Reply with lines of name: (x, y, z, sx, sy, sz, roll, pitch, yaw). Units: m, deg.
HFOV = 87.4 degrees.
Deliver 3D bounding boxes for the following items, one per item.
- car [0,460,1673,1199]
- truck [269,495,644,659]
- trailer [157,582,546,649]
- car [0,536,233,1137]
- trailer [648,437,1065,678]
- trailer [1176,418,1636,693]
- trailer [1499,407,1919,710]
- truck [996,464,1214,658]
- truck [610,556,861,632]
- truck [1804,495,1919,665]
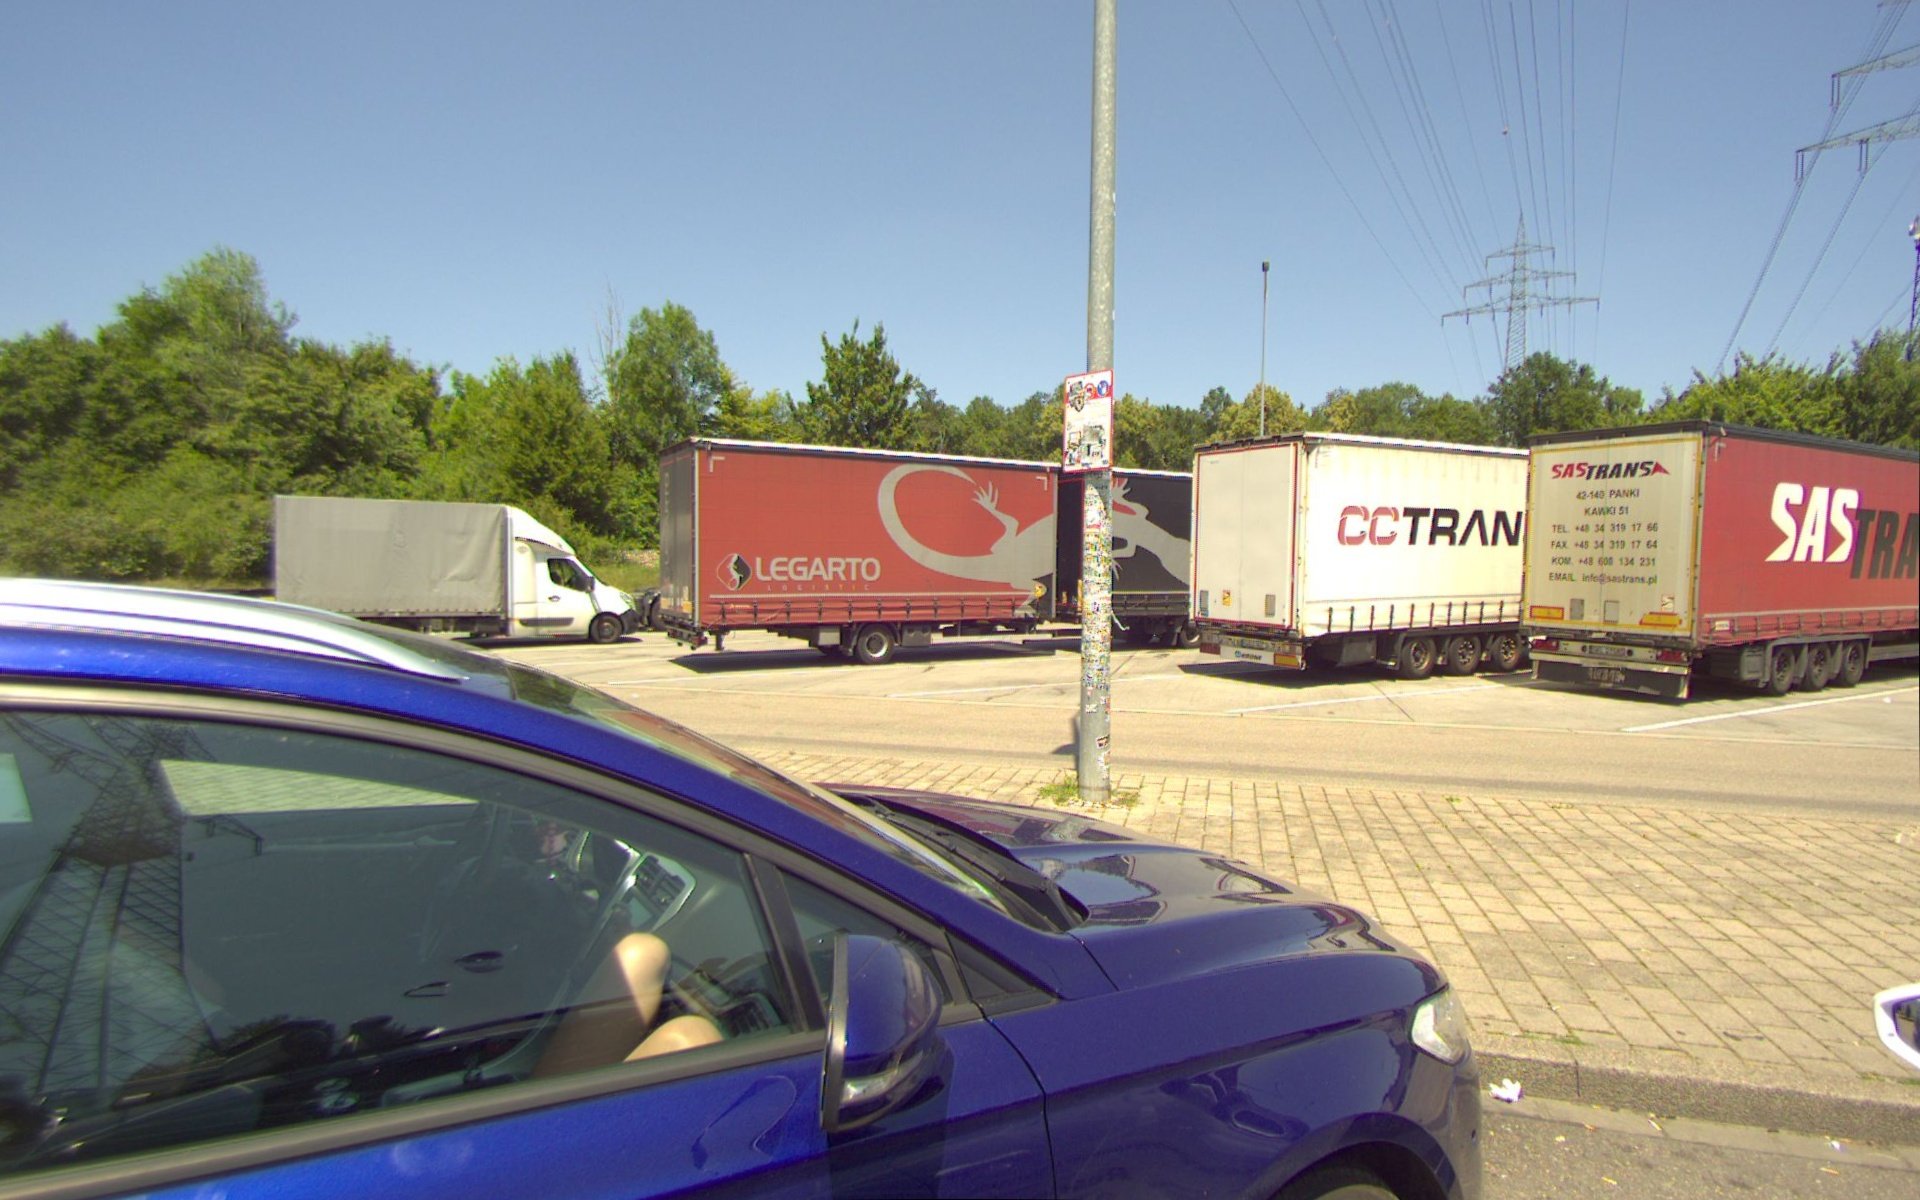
car: (-0.970, 0.655, 1.476, 4.592, 1.502, 1.727, 0, 0, -33)
truck: (-11.196, -0.552, 22.908, 7.254, 3.254, 2.515, -1, 3, -30)
trailer: (-14.824, 0.284, 25.191, 7.996, 1.394, 2.211, -1, 3, -30)
car: (-4.543, 0.586, 2.260, 4.592, 1.554, 1.726, 0, 1, -33)
trailer: (-1.920, -0.818, 20.273, 7.996, 4.101, 2.696, -1, 3, -30)
trailer: (8.873, -0.817, 19.335, 10.049, 4.267, 2.714, -1, 3, -30)
trailer: (15.412, -0.706, 18.571, 13.559, 4.189, 2.892, -1, 3, -30)
truck: (3.362, -0.895, 23.368, 4.273, 4.072, 2.689, -1, 3, -30)
truck: (-6.476, -0.142, 29.532, 6.961, 2.040, 1.984, 0, 0, -30)
truck: (21.734, -0.437, 22.317, 5.418, 3.475, 2.838, -1, 3, -30)
